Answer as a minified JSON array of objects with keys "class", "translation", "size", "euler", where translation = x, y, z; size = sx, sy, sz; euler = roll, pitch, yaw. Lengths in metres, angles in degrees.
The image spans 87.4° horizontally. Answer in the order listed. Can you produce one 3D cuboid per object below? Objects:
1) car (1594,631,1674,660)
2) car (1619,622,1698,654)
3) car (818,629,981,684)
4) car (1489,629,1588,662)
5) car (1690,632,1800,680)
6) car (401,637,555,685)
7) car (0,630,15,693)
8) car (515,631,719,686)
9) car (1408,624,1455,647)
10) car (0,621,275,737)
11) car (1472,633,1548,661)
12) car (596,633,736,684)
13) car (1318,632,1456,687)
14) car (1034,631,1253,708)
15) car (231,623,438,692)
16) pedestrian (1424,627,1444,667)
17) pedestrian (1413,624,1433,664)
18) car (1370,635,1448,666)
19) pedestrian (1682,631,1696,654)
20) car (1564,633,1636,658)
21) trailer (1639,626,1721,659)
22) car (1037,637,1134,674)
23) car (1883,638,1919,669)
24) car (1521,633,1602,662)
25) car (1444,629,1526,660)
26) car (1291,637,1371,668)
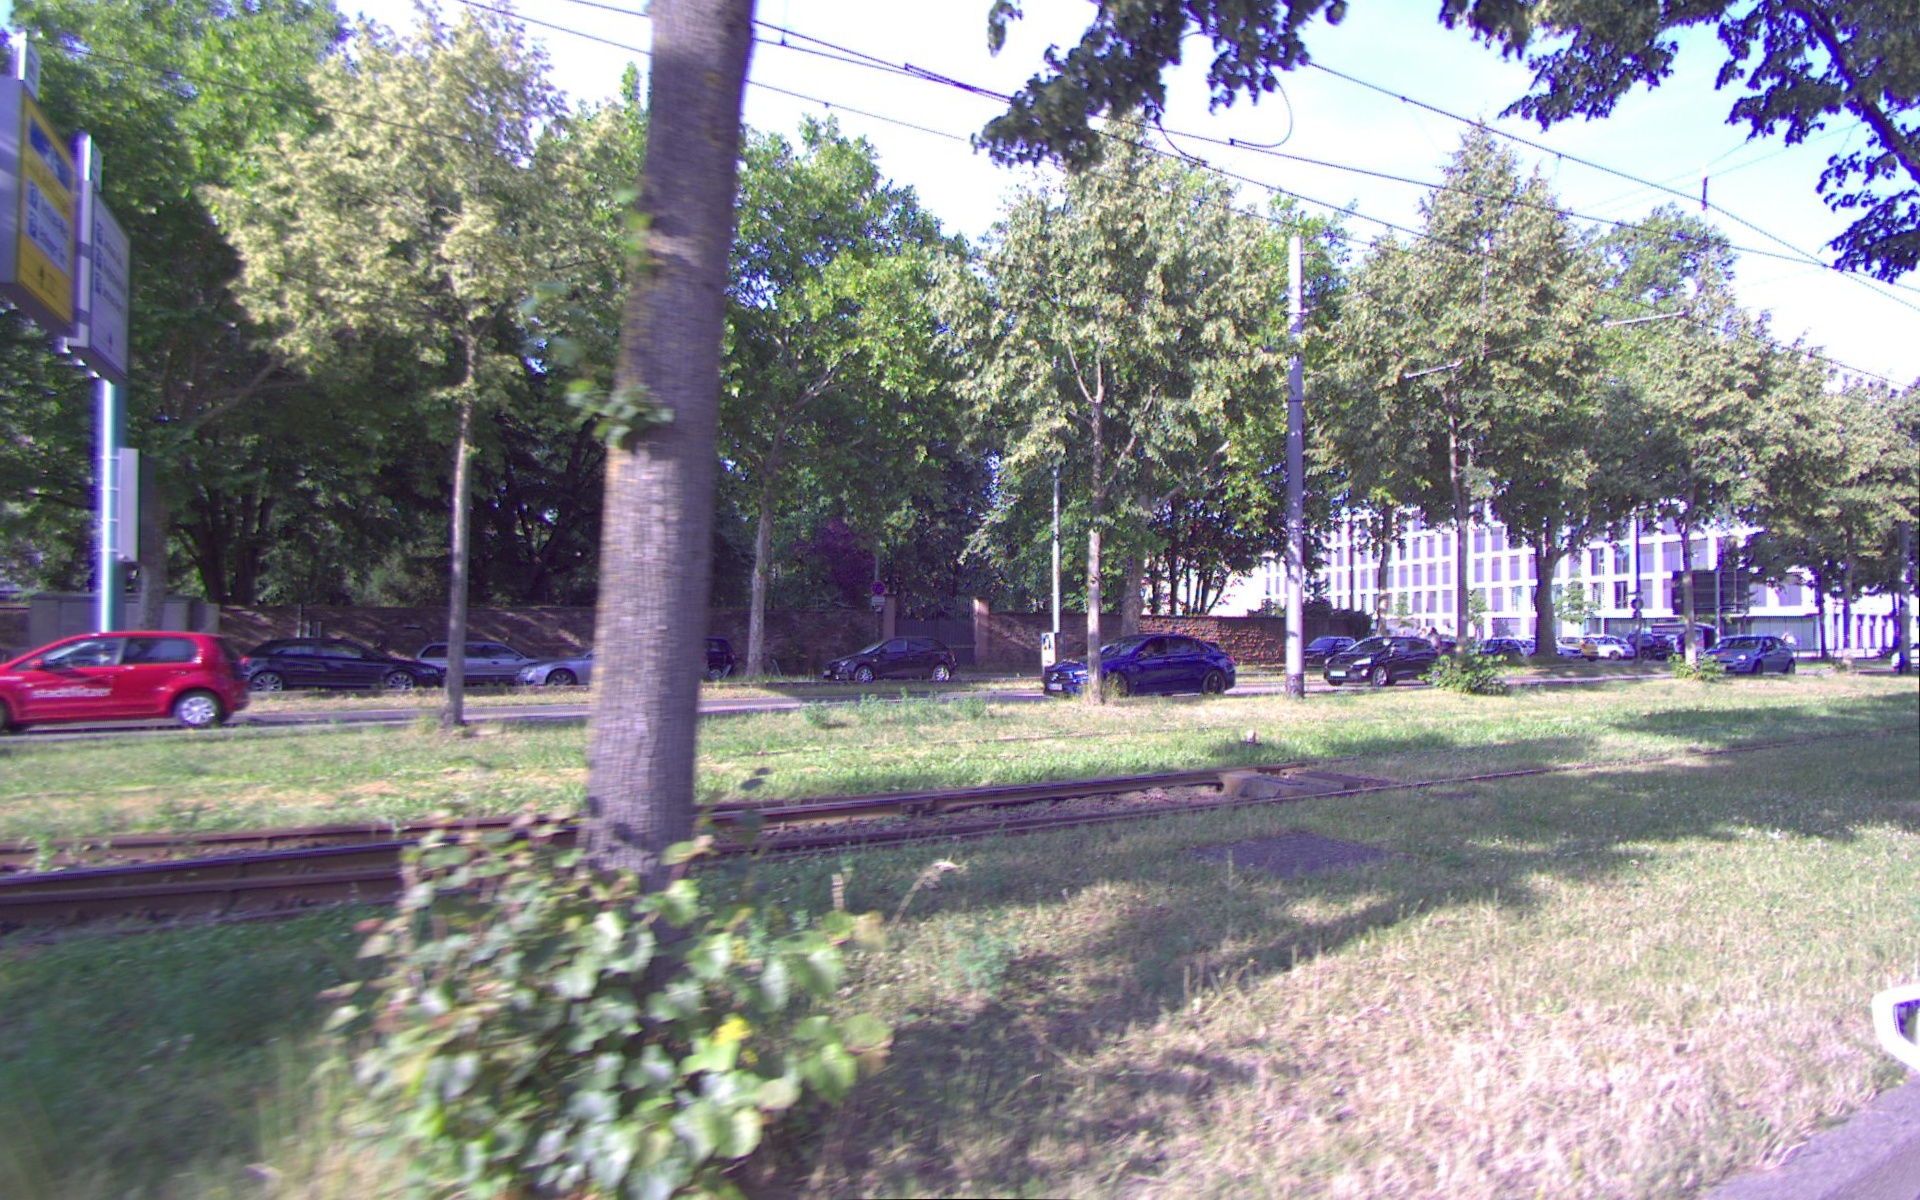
[{"class":"car","translation":[43.962,2.969,65.575],"size":[1.736,1.665,3.975],"euler":[2,0,-29]},{"class":"car","translation":[46.805,2.516,67.352],"size":[1.736,1.973,3.975],"euler":[2,0,-29]},{"class":"car","translation":[-1.751,1.645,29.474],"size":[4.420,1.450,1.822],"euler":[2,0,-29]},{"class":"car","translation":[35.393,2.775,61.628],"size":[1.861,1.758,5.041],"euler":[2,0,-27]},{"class":"car","translation":[27.582,1.948,35.277],"size":[4.083,1.552,1.603],"euler":[2,0,-30]},{"class":"car","translation":[-15.458,1.955,32.362],"size":[4.328,1.393,1.692],"euler":[2,0,-26]},{"class":"car","translation":[-21.500,1.223,19.744],"size":[3.904,1.293,1.579],"euler":[2,0,-24]},{"class":"car","translation":[-8.911,1.505,26.226],"size":[4.841,1.260,1.669],"euler":[2,0,-29]},{"class":"car","translation":[55.613,4.221,118.534],"size":[4.944,2.566,1.807],"euler":[2,0,-14]},{"class":"car","translation":[-12.707,1.140,15.181],"size":[3.717,1.544,1.673],"euler":[2,0,-30]},{"class":"car","translation":[32.965,2.818,60.336],"size":[1.786,1.447,3.633],"euler":[2,0,-27]},{"class":"car","translation":[-10.282,2.021,35.200],"size":[4.420,1.633,1.822],"euler":[2,0,-29]},{"class":"car","translation":[12.630,1.734,29.659],"size":[3.988,1.454,1.674],"euler":[2,0,-30]},{"class":"car","translation":[3.966,1.444,21.456],"size":[4.615,1.454,1.674],"euler":[2,0,-30]},{"class":"car","translation":[-14.336,1.305,23.271],"size":[3.913,1.450,1.662],"euler":[2,0,-30]},{"class":"pedestrian","translation":[17.856,1.773,37.806],"size":[0.595,1.495,0.384],"euler":[2,0,-30]},{"class":"pedestrian","translation":[17.641,1.678,38.241],"size":[0.595,1.495,0.384],"euler":[2,0,-30]},{"class":"car","translation":[24.808,2.765,55.639],"size":[1.718,1.506,3.850],"euler":[2,0,-21]},{"class":"pedestrian","translation":[47.665,2.761,65.654],"size":[0.562,1.500,0.519],"euler":[2,0,-30]},{"class":"car","translation":[41.295,2.919,64.861],"size":[1.705,1.444,3.552],"euler":[2,0,-29]},{"class":"trailer","translation":[50.793,2.970,70.951],"size":[1.734,2.081,4.349],"euler":[2,0,-26]},{"class":"car","translation":[5.428,2.405,43.419],"size":[3.862,1.461,1.711],"euler":[2,0,-28]},{"class":"car","translation":[48.658,2.721,50.695],"size":[4.756,1.495,1.675],"euler":[2,-4,-30]},{"class":"car","translation":[37.547,2.933,62.740],"size":[1.832,1.581,3.972],"euler":[2,0,-27]},{"class":"car","translation":[25.819,2.190,49.376],"size":[3.988,1.454,1.674],"euler":[2,0,-30]},{"class":"car","translation":[19.112,2.672,51.636],"size":[4.319,1.461,1.774],"euler":[2,0,-36]}]
